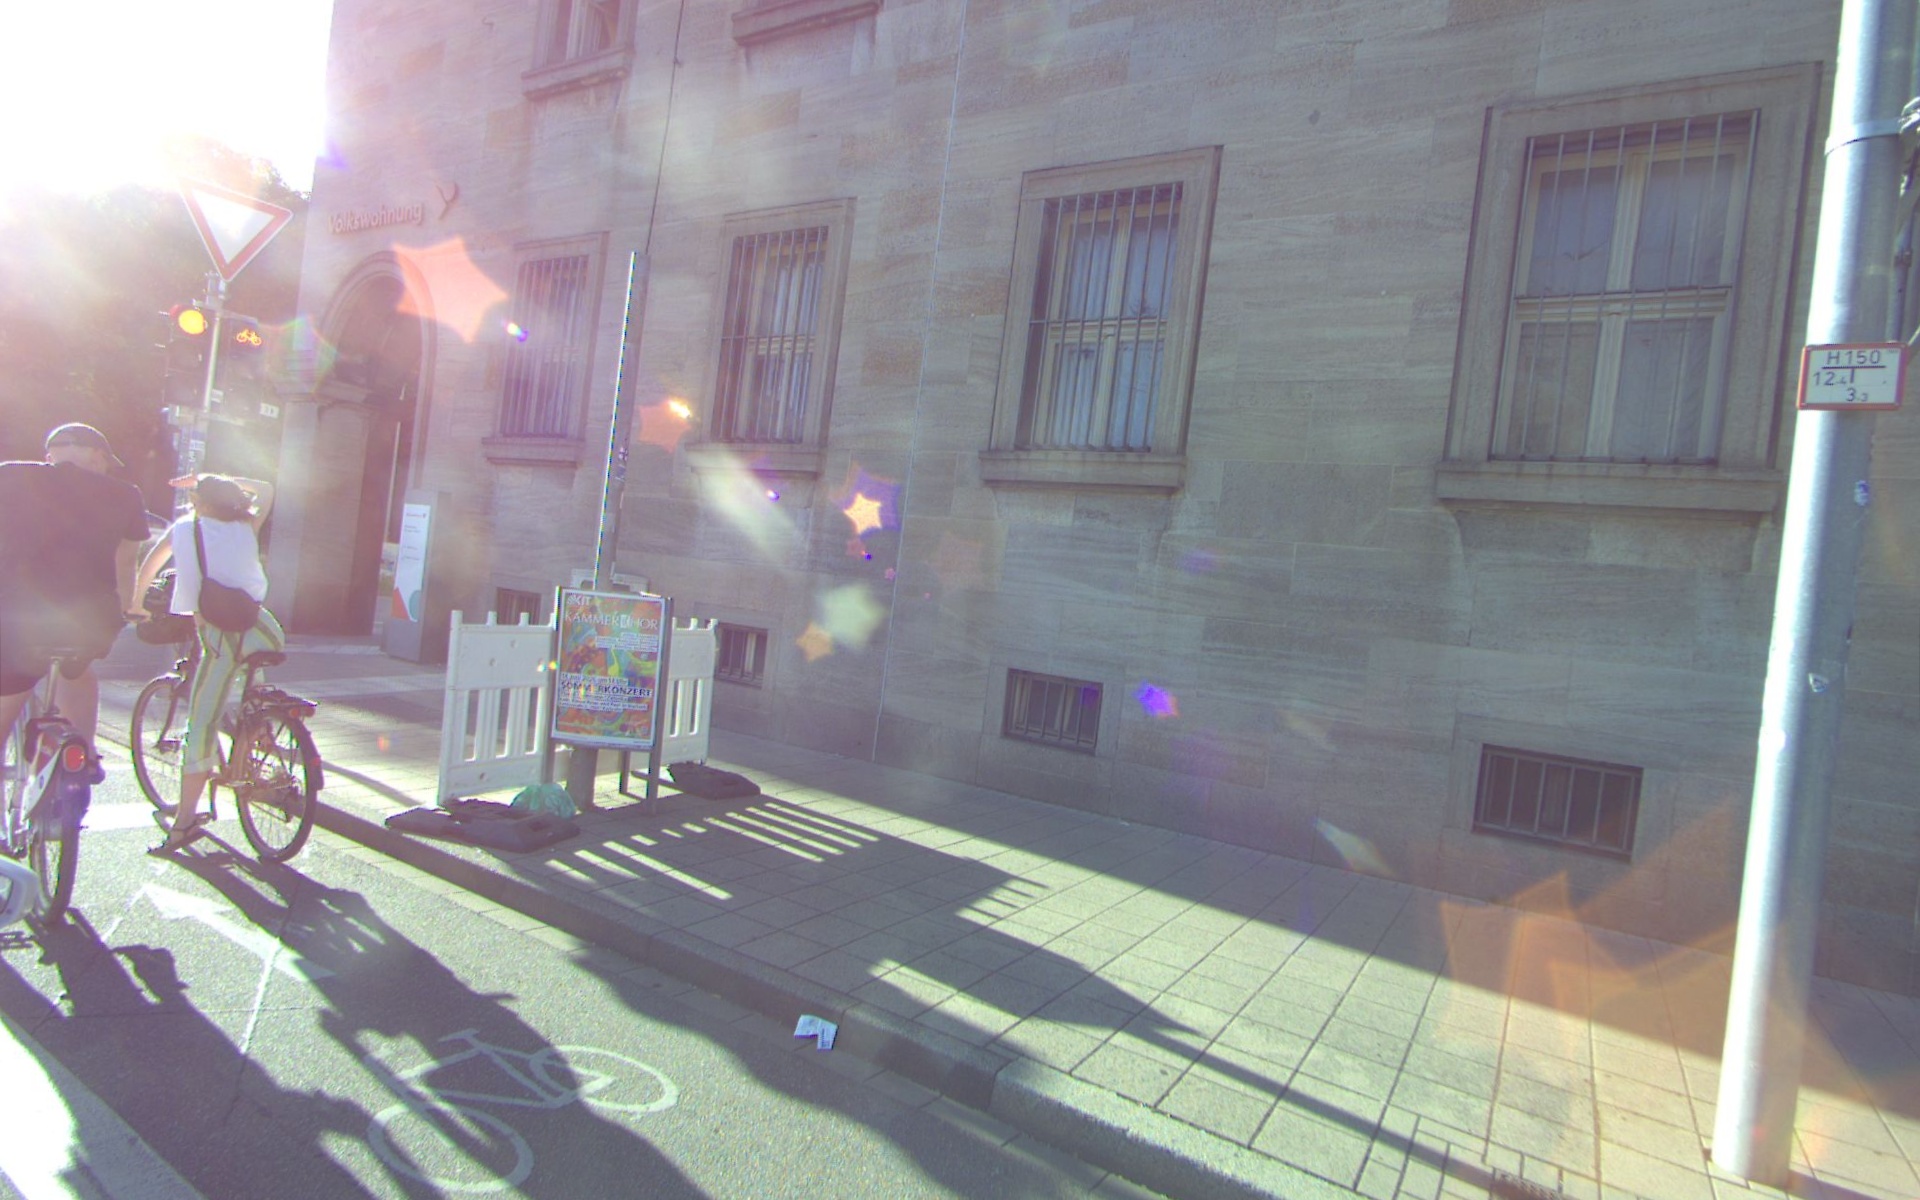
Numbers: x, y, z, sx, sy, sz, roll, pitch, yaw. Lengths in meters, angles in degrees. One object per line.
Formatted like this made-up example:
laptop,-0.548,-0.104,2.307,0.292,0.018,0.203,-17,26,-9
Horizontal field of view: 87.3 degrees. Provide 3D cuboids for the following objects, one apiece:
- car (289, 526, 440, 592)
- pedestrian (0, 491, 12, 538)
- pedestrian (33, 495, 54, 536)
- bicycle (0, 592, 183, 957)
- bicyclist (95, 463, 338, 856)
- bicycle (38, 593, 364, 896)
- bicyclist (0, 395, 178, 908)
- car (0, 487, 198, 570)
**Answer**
car,-19.568,-1.315,33.212,1.623,1.630,3.854,7,-1,31
pedestrian,-32.192,-2.879,33.697,0.430,1.522,0.440,7,1,33
pedestrian,-30.842,-2.841,33.854,0.339,1.331,0.317,8,0,34
bicycle,-3.733,0.572,3.911,1.700,1.090,0.516,7,-1,34
bicyclist,-3.530,0.263,4.791,0.629,1.711,0.558,7,-1,30
bicycle,-3.677,0.619,4.829,1.721,1.090,0.535,7,-1,31
bicyclist,-3.544,0.191,3.841,0.541,1.820,0.559,7,-1,33
car,-23.365,-1.894,27.185,1.623,1.630,3.999,7,-1,31
